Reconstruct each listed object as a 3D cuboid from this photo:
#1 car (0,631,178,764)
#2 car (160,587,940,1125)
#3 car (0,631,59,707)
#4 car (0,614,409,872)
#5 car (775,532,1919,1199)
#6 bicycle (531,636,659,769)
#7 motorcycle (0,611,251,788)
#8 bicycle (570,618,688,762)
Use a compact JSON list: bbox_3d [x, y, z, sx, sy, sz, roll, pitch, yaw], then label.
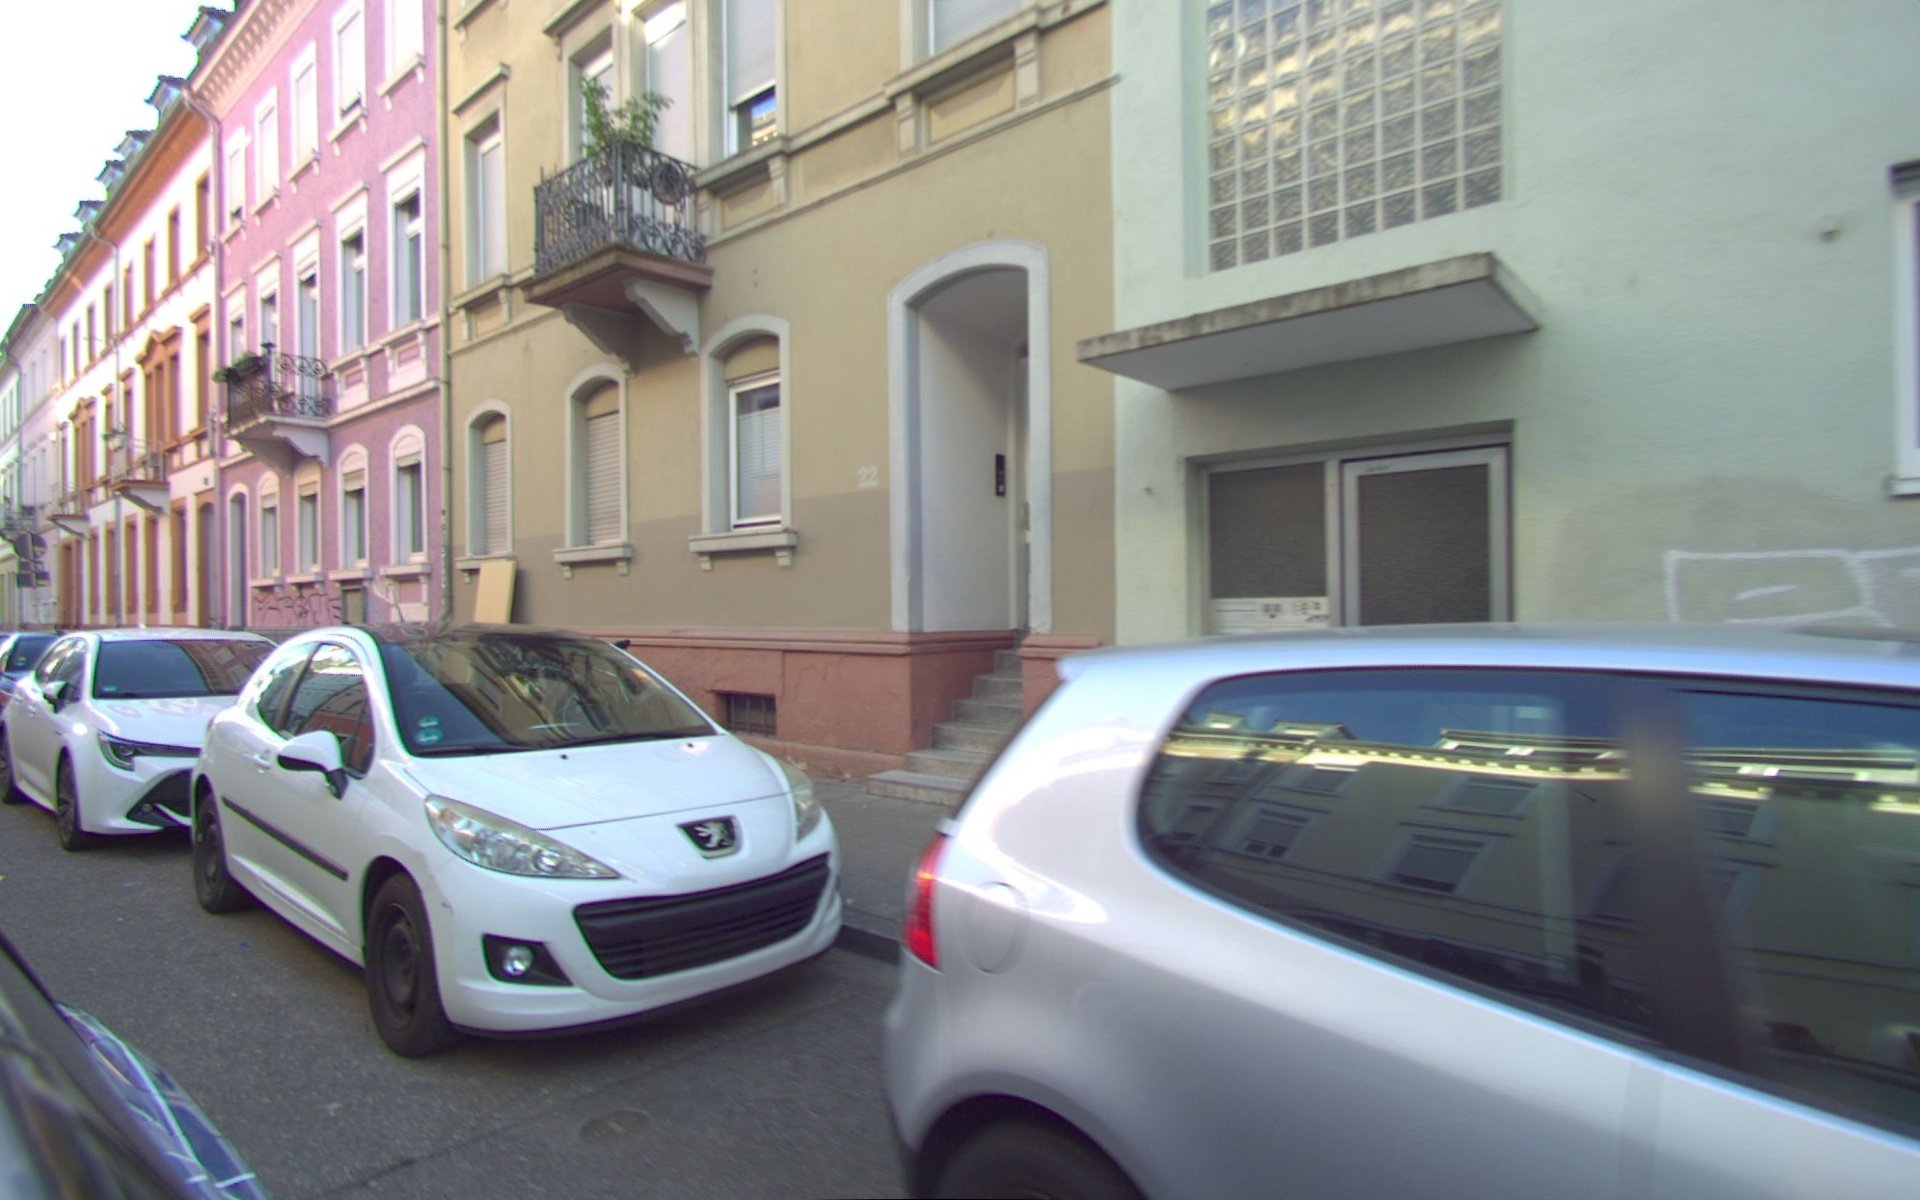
[{"bbox_3d":[-11.263,1.094,12.610,4.302,1.401,1.707,-2,-3,43],"label":"car"},{"bbox_3d":[-2.169,0.746,4.754,3.997,1.463,1.771,-2,-2,41],"label":"car"},{"bbox_3d":[-18.977,1.283,19.539,4.377,1.353,1.748,-1,-3,40],"label":"car"},{"bbox_3d":[-6.064,0.876,7.828,4.197,1.473,1.769,-2,-2,40],"label":"car"},{"bbox_3d":[1.628,0.687,1.270,4.035,1.466,1.661,-2,-3,45],"label":"car"},{"bbox_3d":[-3.369,0.899,9.274,1.494,1.110,0.413,-1,0,41],"label":"bicycle"},{"bbox_3d":[-8.212,0.888,9.883,0.818,1.490,1.954,-2,0,21],"label":"motorcycle"},{"bbox_3d":[-3.164,0.819,9.603,1.494,1.269,0.315,-2,0,41],"label":"bicycle"}]
